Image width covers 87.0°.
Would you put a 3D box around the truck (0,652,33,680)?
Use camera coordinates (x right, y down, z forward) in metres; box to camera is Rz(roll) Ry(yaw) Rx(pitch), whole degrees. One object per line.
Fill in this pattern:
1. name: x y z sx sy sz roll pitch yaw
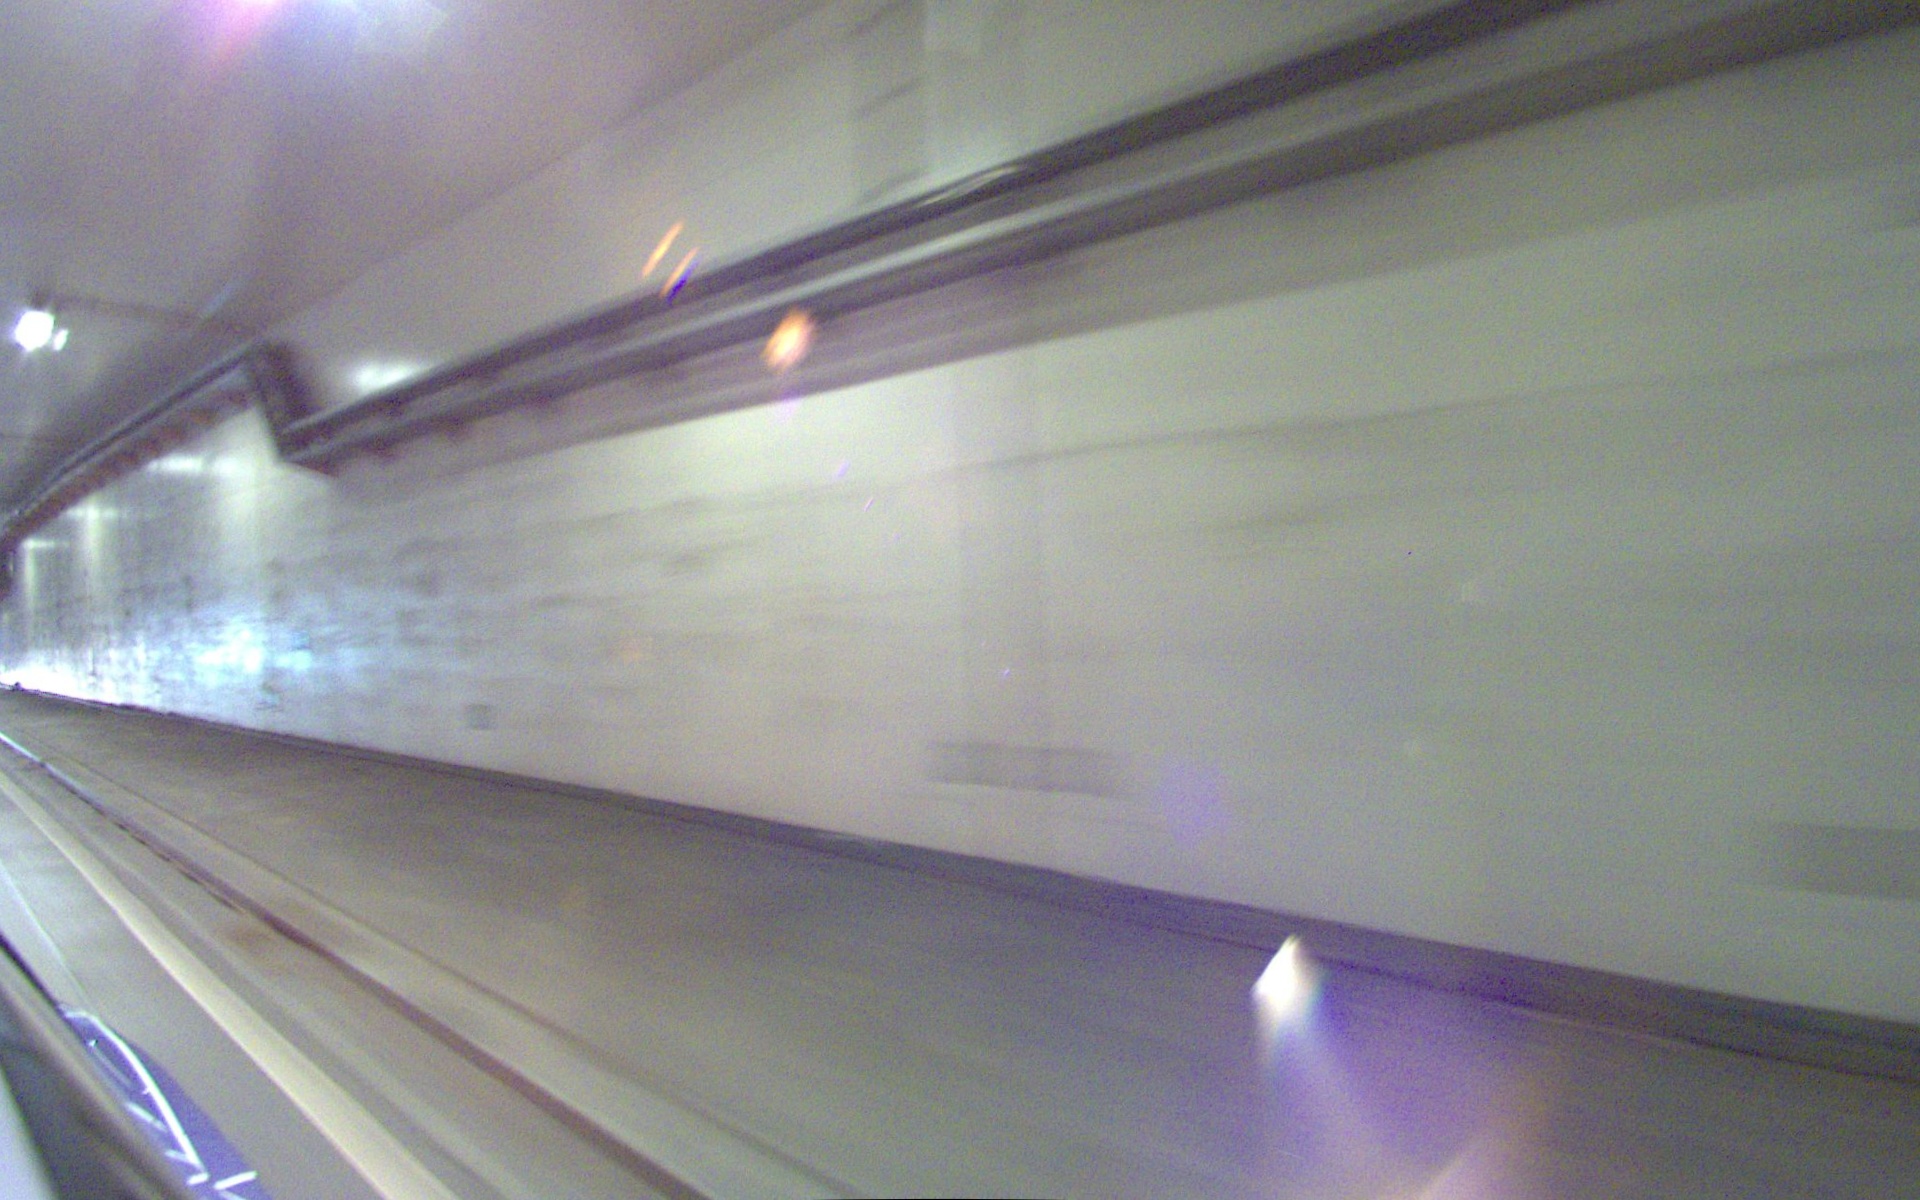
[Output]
1. truck: -108.951 7.599 116.862 2.106 2.748 5.683 -4 3 -38
